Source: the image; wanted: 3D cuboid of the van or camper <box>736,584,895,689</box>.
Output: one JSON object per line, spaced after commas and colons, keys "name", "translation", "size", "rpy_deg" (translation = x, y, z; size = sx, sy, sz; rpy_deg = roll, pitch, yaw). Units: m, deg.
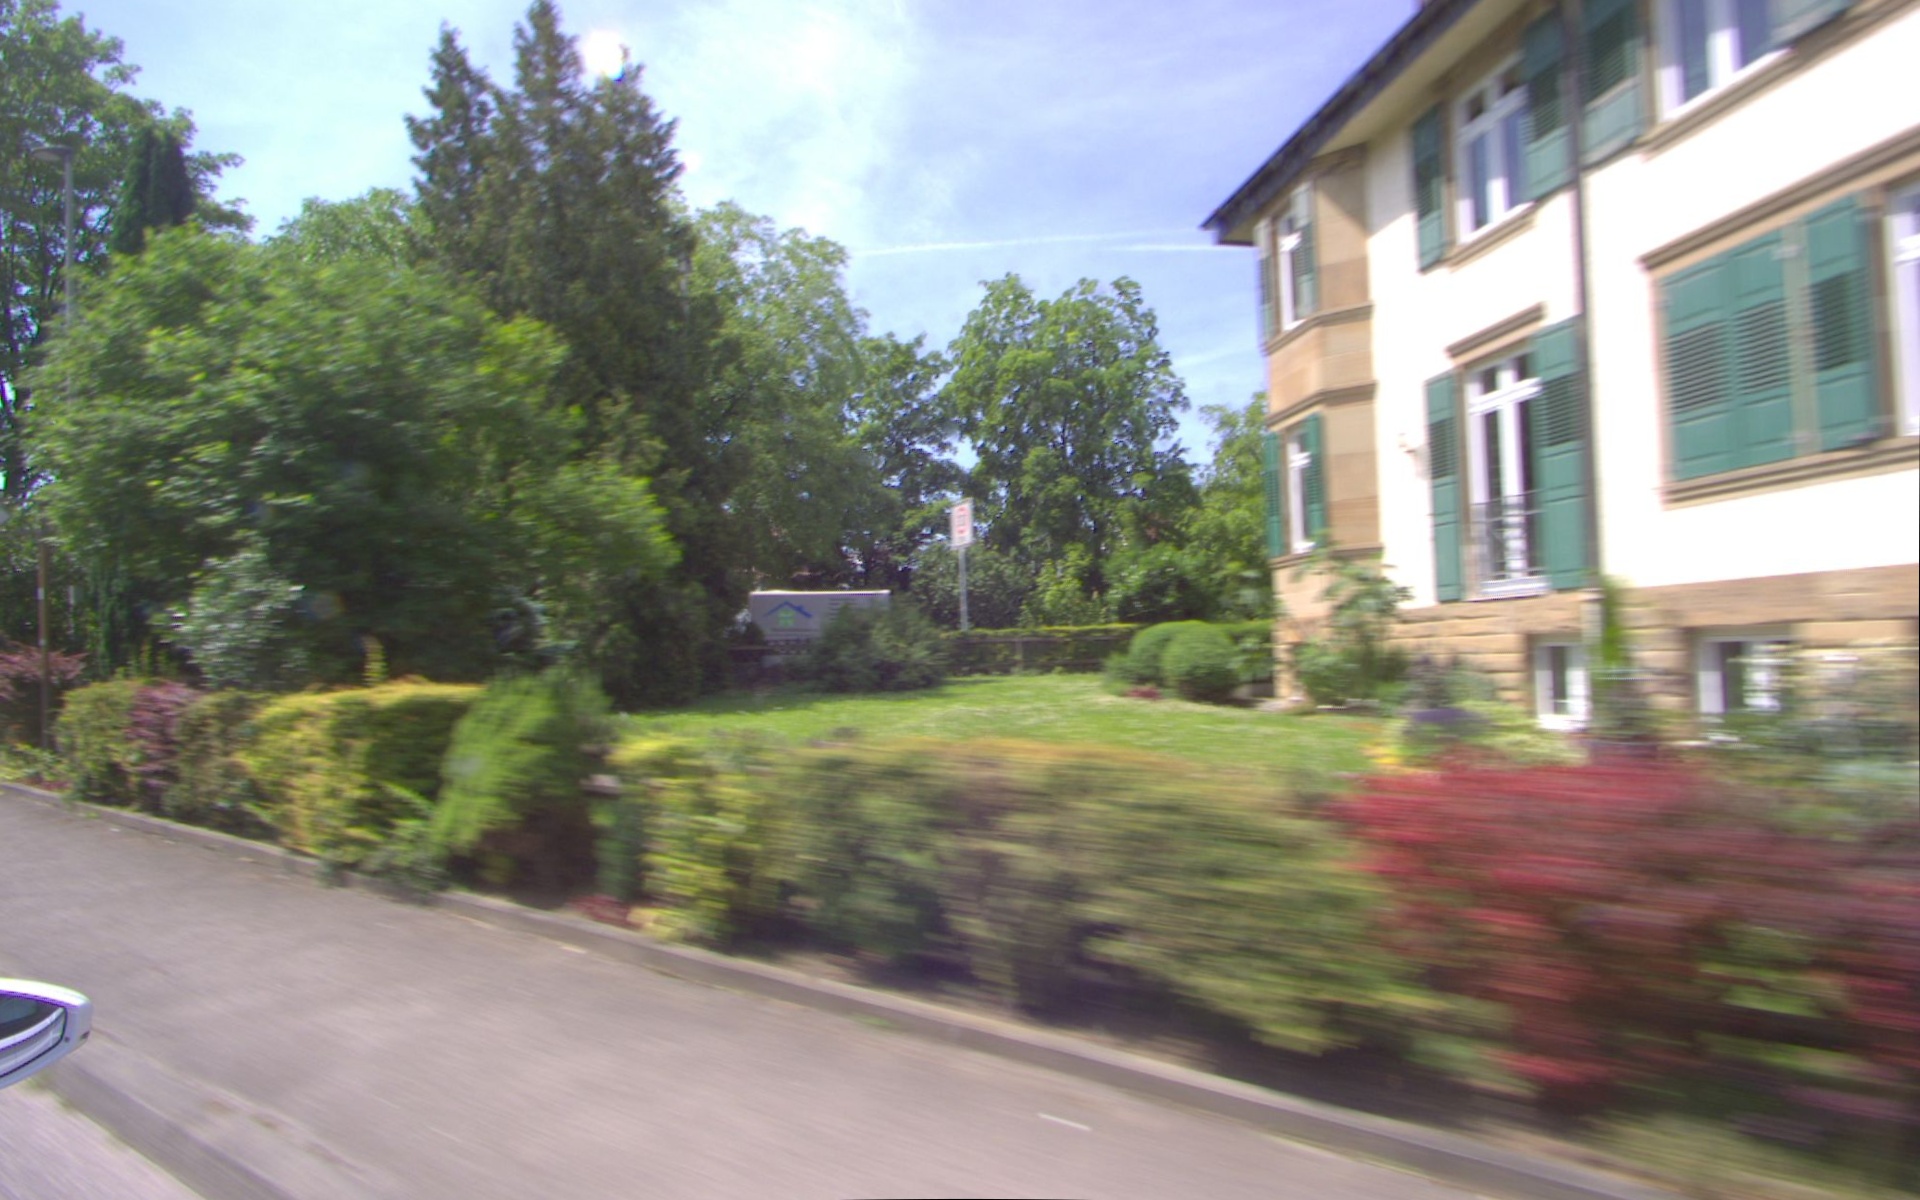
{"name": "van or camper", "translation": [-3.184, 0.843, 22.206], "size": [3.323, 2.165, 1.821], "rpy_deg": [-1, -4, -8]}
